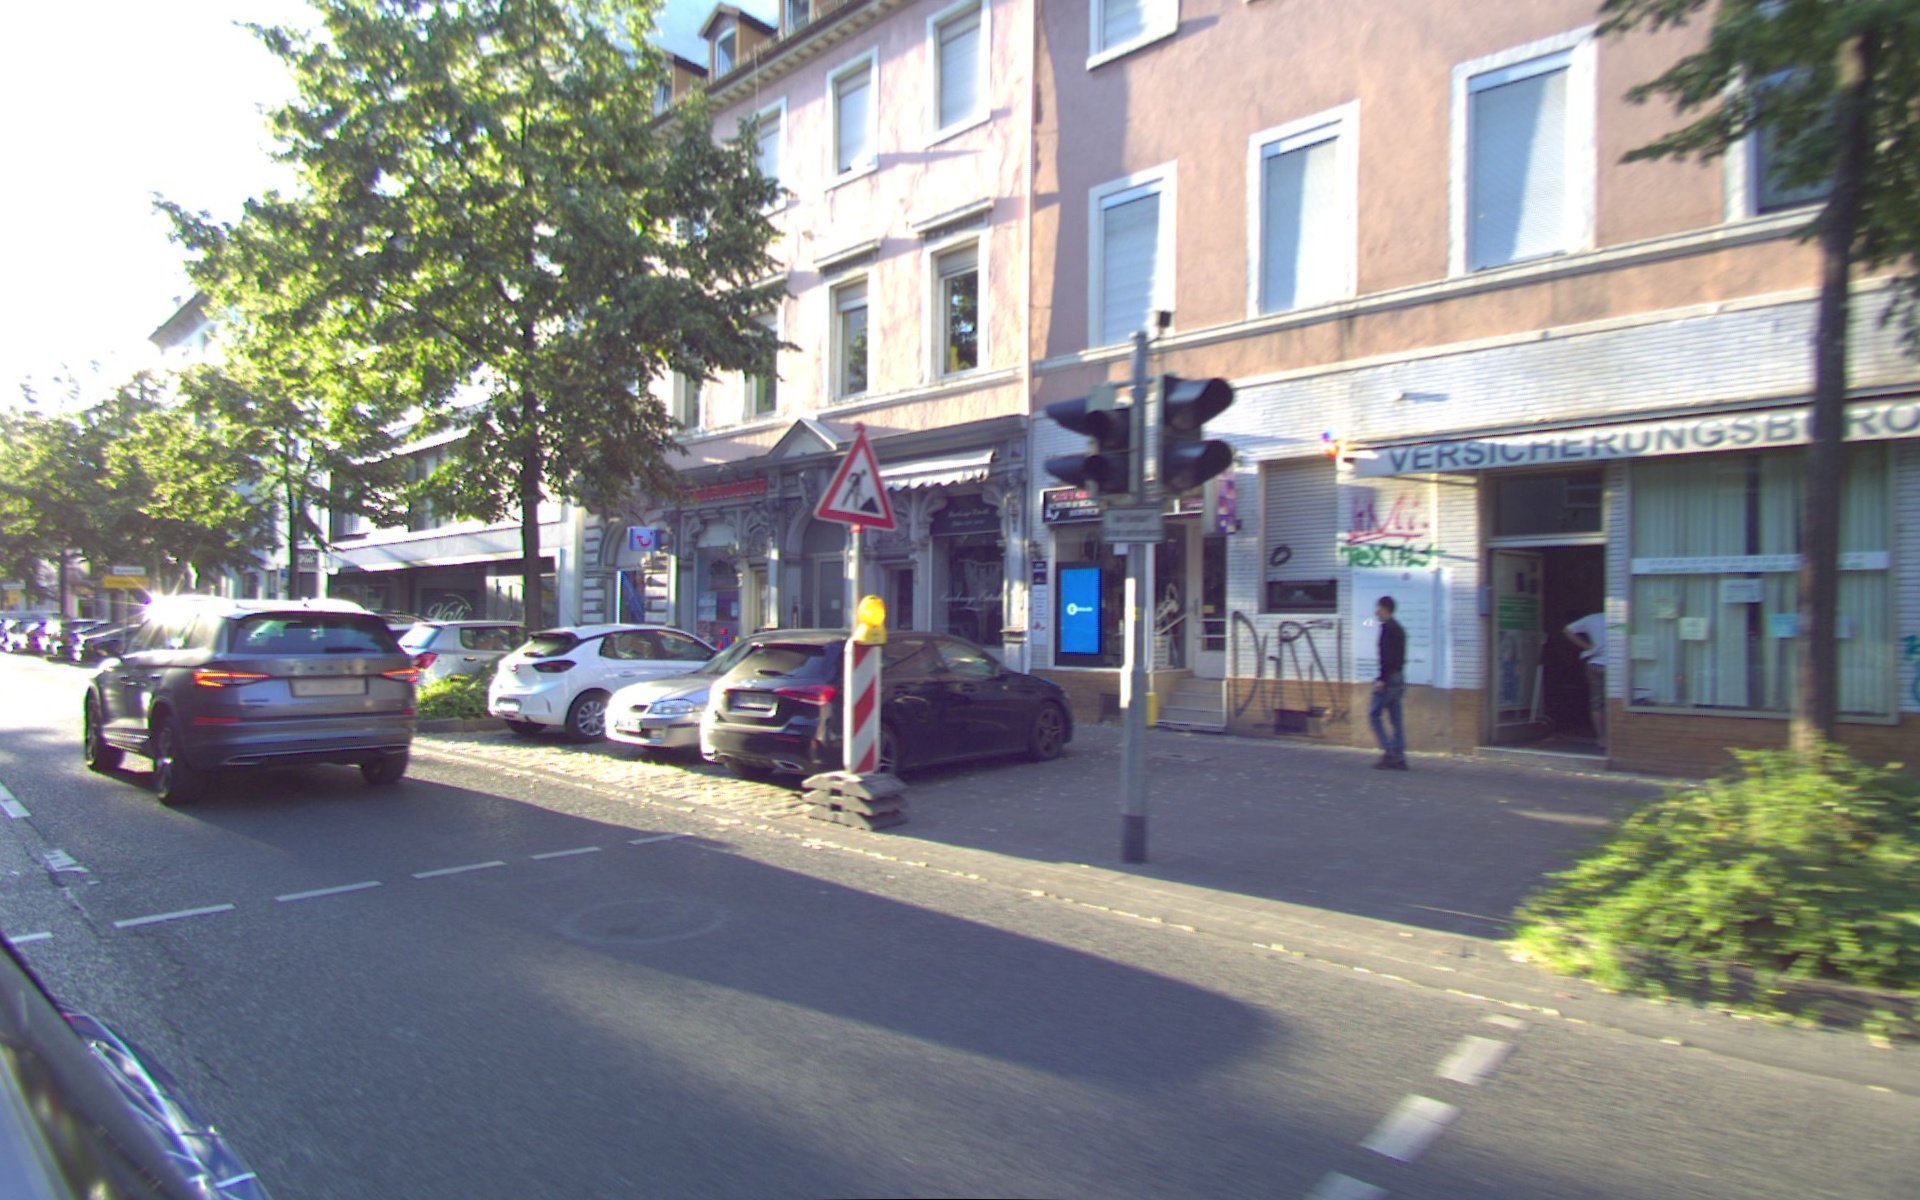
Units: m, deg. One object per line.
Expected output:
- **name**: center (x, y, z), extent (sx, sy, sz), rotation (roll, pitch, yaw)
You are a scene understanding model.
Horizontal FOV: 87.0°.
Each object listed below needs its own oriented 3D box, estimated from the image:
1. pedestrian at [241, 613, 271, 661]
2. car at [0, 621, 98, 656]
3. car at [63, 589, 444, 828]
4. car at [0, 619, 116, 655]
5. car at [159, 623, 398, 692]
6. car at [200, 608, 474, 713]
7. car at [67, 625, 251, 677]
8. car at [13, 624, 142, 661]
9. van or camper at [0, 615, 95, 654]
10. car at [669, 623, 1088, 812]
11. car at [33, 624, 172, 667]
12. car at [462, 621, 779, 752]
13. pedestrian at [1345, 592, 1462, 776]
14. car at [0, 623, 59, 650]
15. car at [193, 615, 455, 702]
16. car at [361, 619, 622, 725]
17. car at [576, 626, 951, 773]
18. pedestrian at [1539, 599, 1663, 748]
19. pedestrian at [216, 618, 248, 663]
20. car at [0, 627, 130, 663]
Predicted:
- **pedestrian**: center (-26.384, 1.371, 37.927), extent (0.933, 1.762, 0.711), rotation (-2, 0, 42)
- **car**: center (-45.442, 1.882, 50.026), extent (1.732, 1.681, 4.137), rotation (-1, -2, 43)
- **car**: center (-6.701, 0.807, 9.400), extent (4.458, 1.705, 1.842), rotation (0, -2, 41)
- **car**: center (-41.762, 1.675, 46.760), extent (4.133, 1.548, 1.746), rotation (0, 0, -43)
- **car**: center (-16.353, 1.321, 24.491), extent (1.743, 1.495, 4.500), rotation (-2, -2, 41)
- **car**: center (-11.817, 1.060, 19.418), extent (1.888, 1.786, 4.108), rotation (-1, -1, 39)
- **car**: center (-24.760, 1.531, 31.406), extent (1.743, 1.495, 4.229), rotation (-2, -2, 41)
- **car**: center (-36.850, 1.746, 42.342), extent (1.742, 1.468, 3.828), rotation (-2, -2, 39)
- **van or camper**: center (-47.591, 1.755, 52.150), extent (1.789, 1.971, 4.410), rotation (-2, -2, 42)
- **car**: center (-0.601, 0.964, 10.031), extent (1.882, 1.414, 4.066), rotation (-1, -1, 39)
- **car**: center (-32.876, 1.709, 38.890), extent (1.742, 1.579, 3.828), rotation (-2, -2, 39)
- **car**: center (-4.449, 1.041, 13.672), extent (1.804, 1.455, 3.702), rotation (-1, -1, 38)
- **pedestrian**: center (4.425, 0.789, 10.099), extent (0.875, 1.734, 0.764), rotation (0, 0, 42)
- **car**: center (-55.530, 2.138, 58.902), extent (1.813, 1.536, 4.382), rotation (-2, -1, 40)
- **car**: center (-13.332, 1.162, 21.425), extent (1.888, 1.608, 4.361), rotation (-2, -2, 40)
- **car**: center (-7.602, 1.084, 16.639), extent (1.714, 1.513, 3.520), rotation (-1, -1, 40)
- **car**: center (-2.149, 1.019, 11.925), extent (1.843, 1.414, 4.052), rotation (-1, -2, 43)
- **pedestrian**: center (6.928, 0.755, 10.952), extent (0.860, 1.529, 0.821), rotation (0, 0, -29)
- **pedestrian**: center (-26.940, 1.488, 37.440), extent (1.094, 1.614, 0.711), rotation (-2, 0, 42)
- **car**: center (-38.654, 1.934, 43.753), extent (1.742, 1.397, 4.002), rotation (-2, -1, 37)
